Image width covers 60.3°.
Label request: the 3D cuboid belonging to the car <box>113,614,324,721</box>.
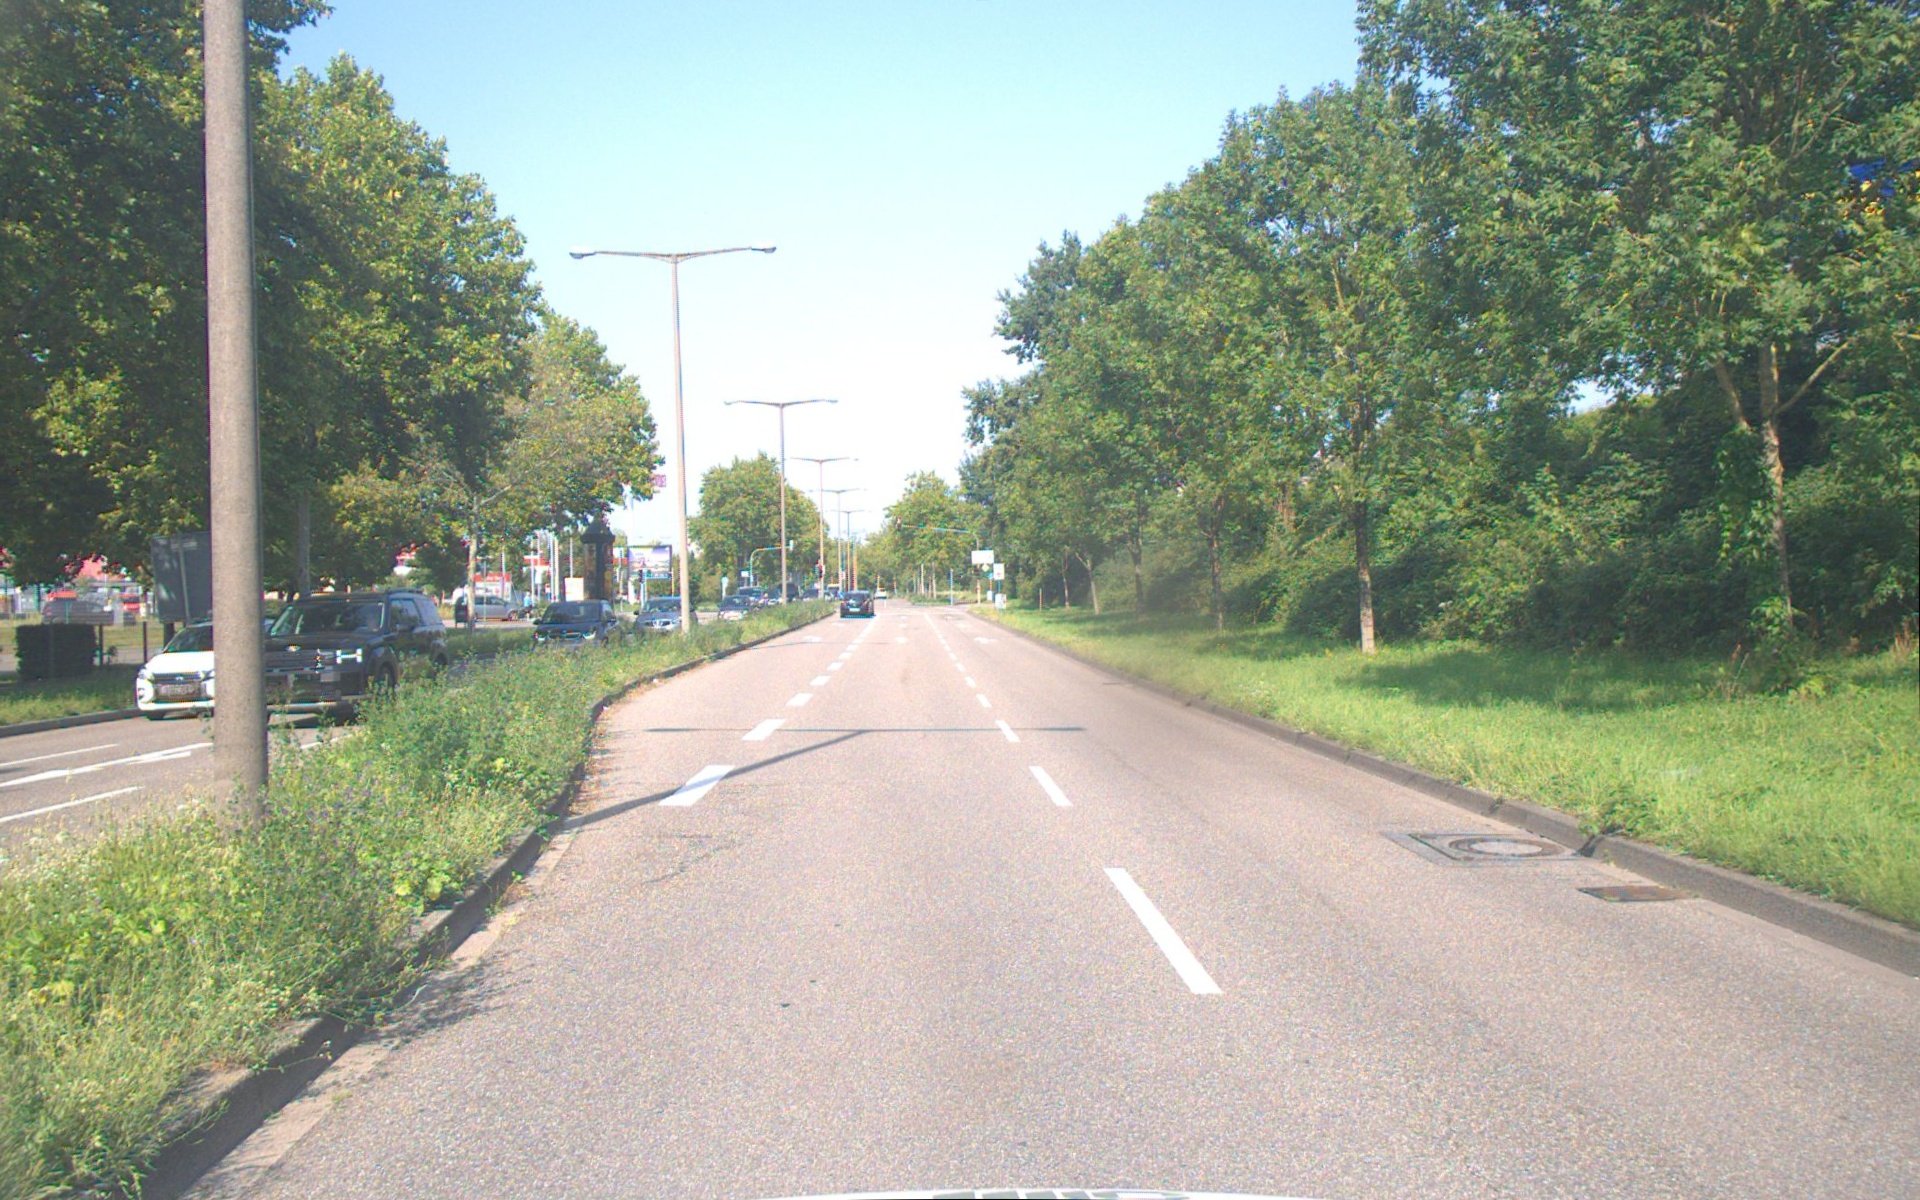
[{"bbox_3d":[-11.837,1.026,26.701,1.755,1.508,3.997,-1,0,-3],"label":"car"}]

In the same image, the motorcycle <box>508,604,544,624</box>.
[{"bbox_3d":[-26.768,0.863,101.918,2.054,1.156,0.668,0,0,-38],"label":"motorcycle"}]

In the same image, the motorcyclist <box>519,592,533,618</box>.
[{"bbox_3d":[-26.751,0.309,101.941,0.677,1.599,0.674,0,0,-38],"label":"motorcyclist"}]

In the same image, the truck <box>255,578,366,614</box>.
[{"bbox_3d":[-59.713,-0.370,152.185,8.923,3.009,3.466,-2,0,-38],"label":"truck"}]

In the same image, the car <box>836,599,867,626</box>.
[{"bbox_3d":[-6.332,0.706,96.905,1.658,1.512,3.998,-1,0,-2],"label":"car"}]

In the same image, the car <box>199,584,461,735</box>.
[{"bbox_3d":[-8.559,0.746,22.928,1.953,1.790,4.475,-3,0,-2],"label":"car"}]

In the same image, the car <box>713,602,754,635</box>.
[{"bbox_3d":[-10.830,0.858,79.154,1.643,1.512,3.490,0,0,-3],"label":"car"}]

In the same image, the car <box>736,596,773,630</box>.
[{"bbox_3d":[-12.788,0.794,103.167,1.893,2.063,4.564,-1,0,-3],"label":"car"}]

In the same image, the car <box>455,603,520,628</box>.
[{"bbox_3d":[-29.510,0.961,103.390,3.665,1.468,1.447,0,0,-39],"label":"car"}]

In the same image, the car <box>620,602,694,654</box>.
[{"bbox_3d":[-10.253,0.914,56.195,1.842,1.621,4.106,-1,0,-2],"label":"car"}]

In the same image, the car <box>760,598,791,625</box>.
[{"bbox_3d":[-14.069,0.851,126.237,1.956,1.734,4.501,-8,0,-4],"label":"car"}]

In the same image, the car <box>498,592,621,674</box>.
[{"bbox_3d":[-9.571,0.754,39.893,1.953,1.790,4.305,-3,0,-2],"label":"car"}]
